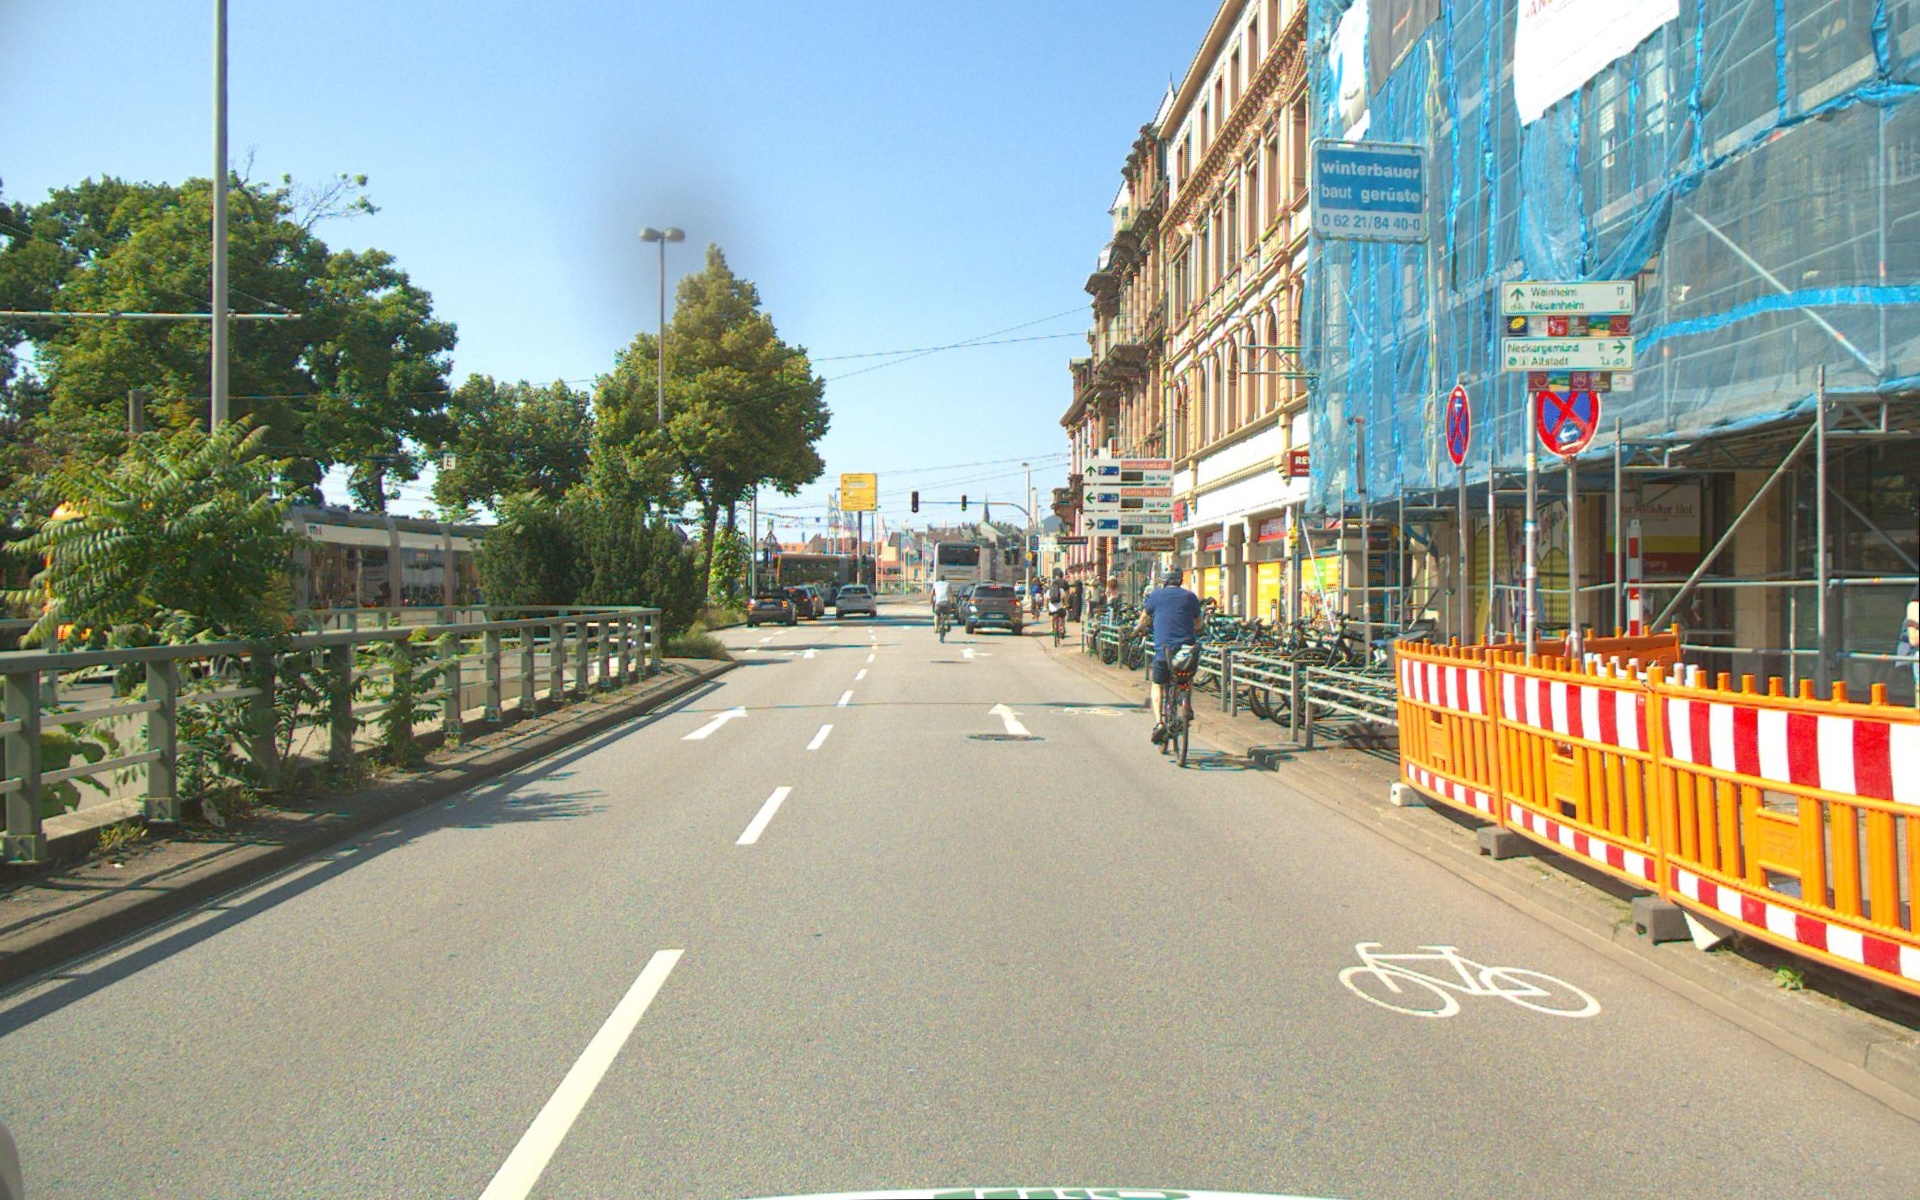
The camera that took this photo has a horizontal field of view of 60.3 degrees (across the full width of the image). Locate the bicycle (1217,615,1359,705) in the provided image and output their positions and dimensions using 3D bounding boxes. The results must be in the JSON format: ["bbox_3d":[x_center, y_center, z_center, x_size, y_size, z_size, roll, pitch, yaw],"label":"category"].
[{"bbox_3d":[4.198,0.764,21.238,1.703,1.128,0.608,0,0,-1],"label":"bicycle"}]

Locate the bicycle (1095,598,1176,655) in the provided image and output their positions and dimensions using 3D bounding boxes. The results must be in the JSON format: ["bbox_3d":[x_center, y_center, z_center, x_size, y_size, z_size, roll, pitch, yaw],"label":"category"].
[{"bbox_3d":[3.701,0.553,34.907,1.659,1.199,0.469,0,0,-1],"label":"bicycle"}]

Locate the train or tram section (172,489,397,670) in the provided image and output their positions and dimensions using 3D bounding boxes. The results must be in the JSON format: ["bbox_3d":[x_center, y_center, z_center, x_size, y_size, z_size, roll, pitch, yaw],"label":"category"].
[{"bbox_3d":[-14.796,-0.424,36.761,2.560,3.643,6.102,1,0,-2],"label":"train or tram section"}]

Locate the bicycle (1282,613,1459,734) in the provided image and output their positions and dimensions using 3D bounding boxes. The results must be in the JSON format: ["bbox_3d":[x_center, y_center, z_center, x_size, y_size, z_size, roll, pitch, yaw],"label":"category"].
[{"bbox_3d":[4.178,0.740,16.908,1.659,1.199,0.608,0,0,-1],"label":"bicycle"}]

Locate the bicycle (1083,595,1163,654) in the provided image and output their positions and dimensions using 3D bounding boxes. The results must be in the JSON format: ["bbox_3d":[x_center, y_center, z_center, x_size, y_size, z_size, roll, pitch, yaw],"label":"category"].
[{"bbox_3d":[3.617,0.540,36.695,1.659,1.199,0.608,-3,1,-1],"label":"bicycle"}]

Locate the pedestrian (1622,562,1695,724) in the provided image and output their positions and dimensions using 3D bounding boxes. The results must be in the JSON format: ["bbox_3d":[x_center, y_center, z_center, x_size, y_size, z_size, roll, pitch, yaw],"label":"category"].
[{"bbox_3d":[7.262,0.436,17.175,0.631,1.629,0.764,1,0,26],"label":"pedestrian"}]

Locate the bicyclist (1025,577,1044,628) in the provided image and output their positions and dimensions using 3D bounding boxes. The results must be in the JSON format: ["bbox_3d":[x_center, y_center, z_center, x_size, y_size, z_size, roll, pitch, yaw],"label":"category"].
[{"bbox_3d":[2.952,0.108,65.658,0.674,1.996,0.778,1,0,1],"label":"bicyclist"}]

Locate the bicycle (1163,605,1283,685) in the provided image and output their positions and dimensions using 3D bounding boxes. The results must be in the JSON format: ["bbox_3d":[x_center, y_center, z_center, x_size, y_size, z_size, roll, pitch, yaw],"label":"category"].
[{"bbox_3d":[4.024,0.683,25.383,1.735,1.199,0.608,0,0,-1],"label":"bicycle"}]

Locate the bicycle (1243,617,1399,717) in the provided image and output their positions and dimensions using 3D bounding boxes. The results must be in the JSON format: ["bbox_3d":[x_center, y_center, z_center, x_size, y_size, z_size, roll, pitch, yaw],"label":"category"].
[{"bbox_3d":[4.152,0.765,19.084,1.659,1.116,0.608,0,0,-1],"label":"bicycle"}]

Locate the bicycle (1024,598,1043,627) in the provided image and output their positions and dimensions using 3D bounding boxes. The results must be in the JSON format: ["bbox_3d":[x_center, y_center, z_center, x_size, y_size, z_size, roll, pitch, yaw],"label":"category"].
[{"bbox_3d":[2.924,0.503,65.701,0.719,1.112,1.898,1,0,2],"label":"bicycle"}]

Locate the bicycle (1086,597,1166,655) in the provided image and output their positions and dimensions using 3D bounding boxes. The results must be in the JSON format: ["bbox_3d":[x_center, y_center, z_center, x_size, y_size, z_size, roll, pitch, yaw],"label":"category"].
[{"bbox_3d":[3.614,0.569,36.041,1.659,1.199,0.608,-2,1,-1],"label":"bicycle"}]

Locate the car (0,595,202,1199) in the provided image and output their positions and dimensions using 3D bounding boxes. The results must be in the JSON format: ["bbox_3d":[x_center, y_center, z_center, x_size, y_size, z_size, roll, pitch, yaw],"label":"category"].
[{"bbox_3d":[-2.215,0.780,0.851,1.740,1.501,4.000,-2,0,1],"label":"car"}]

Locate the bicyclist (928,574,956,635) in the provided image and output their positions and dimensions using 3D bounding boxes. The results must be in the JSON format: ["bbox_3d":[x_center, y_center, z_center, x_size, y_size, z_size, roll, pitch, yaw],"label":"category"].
[{"bbox_3d":[-0.477,0.108,44.222,0.674,1.604,1.049,1,0,-3],"label":"bicyclist"}]

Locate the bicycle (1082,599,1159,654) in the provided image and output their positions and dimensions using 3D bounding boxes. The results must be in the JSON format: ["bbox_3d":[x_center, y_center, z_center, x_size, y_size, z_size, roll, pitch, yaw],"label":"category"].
[{"bbox_3d":[3.618,0.590,37.328,1.659,1.199,0.608,-1,1,-1],"label":"bicycle"}]

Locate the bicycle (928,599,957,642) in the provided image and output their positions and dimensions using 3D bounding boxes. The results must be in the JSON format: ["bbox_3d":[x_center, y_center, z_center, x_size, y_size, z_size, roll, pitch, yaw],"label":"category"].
[{"bbox_3d":[-0.477,0.533,44.310,0.719,1.112,1.897,1,0,-3],"label":"bicycle"}]

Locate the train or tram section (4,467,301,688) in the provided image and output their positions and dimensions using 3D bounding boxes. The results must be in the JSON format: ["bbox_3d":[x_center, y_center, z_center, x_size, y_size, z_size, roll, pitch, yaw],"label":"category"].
[{"bbox_3d":[-14.709,-0.384,30.691,2.561,3.643,6.102,1,0,-2],"label":"train or tram section"}]

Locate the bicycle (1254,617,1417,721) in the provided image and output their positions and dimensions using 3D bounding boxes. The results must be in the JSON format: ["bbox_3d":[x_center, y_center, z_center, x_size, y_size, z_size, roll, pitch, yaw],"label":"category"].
[{"bbox_3d":[4.149,0.761,18.340,1.659,1.116,0.608,0,0,-1],"label":"bicycle"}]

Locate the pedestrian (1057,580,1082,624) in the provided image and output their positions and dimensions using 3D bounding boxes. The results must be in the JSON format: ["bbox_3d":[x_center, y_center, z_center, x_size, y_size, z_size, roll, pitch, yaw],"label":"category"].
[{"bbox_3d":[4.220,0.067,63.656,0.845,1.669,0.875,0,0,-3],"label":"pedestrian"}]

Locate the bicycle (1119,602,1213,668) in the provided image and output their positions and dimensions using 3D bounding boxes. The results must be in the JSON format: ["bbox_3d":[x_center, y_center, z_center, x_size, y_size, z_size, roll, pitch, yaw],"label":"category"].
[{"bbox_3d":[3.795,0.641,30.491,1.659,1.199,0.497,0,0,-1],"label":"bicycle"}]

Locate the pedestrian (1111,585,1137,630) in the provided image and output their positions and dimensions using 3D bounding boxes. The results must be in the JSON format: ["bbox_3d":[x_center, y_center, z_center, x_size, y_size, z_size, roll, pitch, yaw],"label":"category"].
[{"bbox_3d":[6.252,0.286,63.071,0.845,1.669,0.875,1,0,-3],"label":"pedestrian"}]

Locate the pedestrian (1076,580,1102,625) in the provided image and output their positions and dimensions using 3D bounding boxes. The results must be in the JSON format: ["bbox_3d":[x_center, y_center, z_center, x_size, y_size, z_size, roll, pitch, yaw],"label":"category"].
[{"bbox_3d":[4.834,0.086,61.983,0.845,1.669,0.875,0,0,-3],"label":"pedestrian"}]

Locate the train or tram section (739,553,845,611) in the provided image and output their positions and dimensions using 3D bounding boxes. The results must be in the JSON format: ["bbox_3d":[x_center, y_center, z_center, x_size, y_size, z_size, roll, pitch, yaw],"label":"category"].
[{"bbox_3d":[-10.958,-1.108,109.348,2.764,3.643,10.033,1,0,21],"label":"train or tram section"}]

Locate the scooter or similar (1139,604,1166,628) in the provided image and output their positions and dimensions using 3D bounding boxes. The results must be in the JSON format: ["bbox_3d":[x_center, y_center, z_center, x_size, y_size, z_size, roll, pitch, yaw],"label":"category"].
[{"bbox_3d":[5.738,0.474,49.241,0.677,0.661,0.565,-4,0,-2],"label":"scooter or similar"}]

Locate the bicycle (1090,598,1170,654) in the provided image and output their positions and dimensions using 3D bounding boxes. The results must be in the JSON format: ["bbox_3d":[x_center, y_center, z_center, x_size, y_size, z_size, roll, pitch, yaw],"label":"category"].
[{"bbox_3d":[3.640,0.552,35.441,1.659,1.199,0.469,0,0,-1],"label":"bicycle"}]

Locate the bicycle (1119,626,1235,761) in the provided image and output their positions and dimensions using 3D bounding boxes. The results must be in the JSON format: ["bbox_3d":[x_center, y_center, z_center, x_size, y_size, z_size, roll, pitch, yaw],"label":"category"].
[{"bbox_3d":[1.968,0.824,15.238,0.719,1.112,1.910,1,0,-3],"label":"bicycle"}]

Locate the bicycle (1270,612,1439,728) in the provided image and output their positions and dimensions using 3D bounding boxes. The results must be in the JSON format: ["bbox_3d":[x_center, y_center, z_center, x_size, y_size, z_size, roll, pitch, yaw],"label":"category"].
[{"bbox_3d":[4.195,0.739,17.648,1.659,1.199,0.608,0,0,-1],"label":"bicycle"}]

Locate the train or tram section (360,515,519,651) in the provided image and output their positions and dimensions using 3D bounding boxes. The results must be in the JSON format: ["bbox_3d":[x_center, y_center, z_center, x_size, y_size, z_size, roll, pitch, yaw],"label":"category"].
[{"bbox_3d":[-15.133,-0.474,48.599,2.560,3.643,6.896,1,0,-2],"label":"train or tram section"}]

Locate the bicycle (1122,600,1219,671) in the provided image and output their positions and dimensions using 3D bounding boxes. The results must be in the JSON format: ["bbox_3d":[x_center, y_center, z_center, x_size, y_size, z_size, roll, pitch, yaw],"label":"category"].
[{"bbox_3d":[3.792,0.637,29.827,1.659,1.262,0.608,0,0,-1],"label":"bicycle"}]

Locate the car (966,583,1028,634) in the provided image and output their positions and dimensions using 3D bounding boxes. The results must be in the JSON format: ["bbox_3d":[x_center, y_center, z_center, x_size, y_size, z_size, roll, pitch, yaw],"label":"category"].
[{"bbox_3d":[1.146,0.252,52.369,1.835,1.519,4.000,1,0,0],"label":"car"}]

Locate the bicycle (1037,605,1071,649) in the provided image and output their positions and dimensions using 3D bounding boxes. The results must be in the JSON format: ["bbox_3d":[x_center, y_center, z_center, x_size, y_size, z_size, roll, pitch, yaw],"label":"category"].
[{"bbox_3d":[2.472,0.691,43.609,0.719,1.112,1.897,1,0,-2],"label":"bicycle"}]

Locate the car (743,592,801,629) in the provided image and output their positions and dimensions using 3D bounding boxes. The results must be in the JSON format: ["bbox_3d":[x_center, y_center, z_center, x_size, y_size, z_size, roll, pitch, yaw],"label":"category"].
[{"bbox_3d":[-7.190,0.380,63.545,1.778,1.355,4.000,1,0,0],"label":"car"}]

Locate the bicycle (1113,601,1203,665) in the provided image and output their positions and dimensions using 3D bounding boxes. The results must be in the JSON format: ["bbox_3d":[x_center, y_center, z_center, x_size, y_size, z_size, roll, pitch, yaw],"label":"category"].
[{"bbox_3d":[3.769,0.630,31.596,1.659,1.199,0.451,0,0,-1],"label":"bicycle"}]

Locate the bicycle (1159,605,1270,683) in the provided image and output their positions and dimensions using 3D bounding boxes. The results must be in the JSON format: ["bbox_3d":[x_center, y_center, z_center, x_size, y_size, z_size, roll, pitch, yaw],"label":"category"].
[{"bbox_3d":[4.029,0.693,26.214,1.659,1.199,0.608,0,0,-1],"label":"bicycle"}]

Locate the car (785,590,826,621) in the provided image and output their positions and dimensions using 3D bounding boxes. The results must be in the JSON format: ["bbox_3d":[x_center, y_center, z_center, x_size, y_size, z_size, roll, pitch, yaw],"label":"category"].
[{"bbox_3d":[-6.766,0.224,72.607,1.422,1.323,4.000,1,0,0],"label":"car"}]

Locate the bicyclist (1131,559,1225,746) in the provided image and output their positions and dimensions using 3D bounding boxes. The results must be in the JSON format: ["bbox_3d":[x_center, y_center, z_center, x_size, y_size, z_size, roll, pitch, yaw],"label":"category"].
[{"bbox_3d":[1.981,0.461,15.105,0.674,1.644,0.918,1,0,-2],"label":"bicyclist"}]

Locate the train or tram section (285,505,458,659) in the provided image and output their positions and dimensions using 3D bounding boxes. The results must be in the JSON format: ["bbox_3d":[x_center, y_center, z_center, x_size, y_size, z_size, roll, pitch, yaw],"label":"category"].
[{"bbox_3d":[-14.977,-0.449,42.491,2.560,3.643,5.355,1,0,-2],"label":"train or tram section"}]

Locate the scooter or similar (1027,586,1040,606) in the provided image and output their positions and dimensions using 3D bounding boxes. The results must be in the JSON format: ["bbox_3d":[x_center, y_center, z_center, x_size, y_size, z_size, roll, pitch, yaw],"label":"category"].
[{"bbox_3d":[3.844,-0.210,86.975,0.588,1.066,0.799,1,0,-3],"label":"scooter or similar"}]

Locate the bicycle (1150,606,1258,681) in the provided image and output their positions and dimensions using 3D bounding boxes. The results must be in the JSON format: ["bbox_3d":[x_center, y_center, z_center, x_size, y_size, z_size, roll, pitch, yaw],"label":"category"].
[{"bbox_3d":[3.961,0.701,26.939,1.659,1.199,0.608,0,0,-1],"label":"bicycle"}]

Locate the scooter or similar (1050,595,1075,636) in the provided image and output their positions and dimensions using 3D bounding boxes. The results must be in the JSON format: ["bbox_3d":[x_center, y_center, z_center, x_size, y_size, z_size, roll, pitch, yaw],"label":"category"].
[{"bbox_3d":[3.084,0.456,49.669,0.674,1.188,1.464,1,0,1],"label":"scooter or similar"}]

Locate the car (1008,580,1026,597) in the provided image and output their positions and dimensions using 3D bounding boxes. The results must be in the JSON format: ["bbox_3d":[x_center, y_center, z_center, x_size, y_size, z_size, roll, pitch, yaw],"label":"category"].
[{"bbox_3d":[6.778,-1.365,197.426,1.952,1.910,4.001,-2,1,1],"label":"car"}]

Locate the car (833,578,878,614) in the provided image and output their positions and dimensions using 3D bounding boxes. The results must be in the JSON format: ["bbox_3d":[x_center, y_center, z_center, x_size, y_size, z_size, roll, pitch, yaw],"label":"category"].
[{"bbox_3d":[-4.726,-0.180,75.229,1.821,1.533,4.000,1,0,0],"label":"car"}]

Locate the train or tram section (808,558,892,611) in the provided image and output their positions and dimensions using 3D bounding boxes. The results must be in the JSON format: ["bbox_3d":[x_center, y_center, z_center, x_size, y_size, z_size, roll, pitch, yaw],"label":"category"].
[{"bbox_3d":[-7.760,-1.073,117.979,2.764,3.643,8.226,1,0,21],"label":"train or tram section"}]

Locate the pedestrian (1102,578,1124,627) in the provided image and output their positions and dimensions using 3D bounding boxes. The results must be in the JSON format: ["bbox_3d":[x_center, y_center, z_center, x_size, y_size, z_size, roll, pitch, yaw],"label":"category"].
[{"bbox_3d":[5.361,0.084,57.903,0.641,1.649,0.815,-1,1,-3],"label":"pedestrian"}]

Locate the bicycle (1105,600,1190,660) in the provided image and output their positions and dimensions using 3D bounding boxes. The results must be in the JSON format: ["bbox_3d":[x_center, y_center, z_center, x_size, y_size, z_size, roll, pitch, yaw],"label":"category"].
[{"bbox_3d":[3.758,0.597,33.197,1.659,1.199,0.514,0,0,-1],"label":"bicycle"}]

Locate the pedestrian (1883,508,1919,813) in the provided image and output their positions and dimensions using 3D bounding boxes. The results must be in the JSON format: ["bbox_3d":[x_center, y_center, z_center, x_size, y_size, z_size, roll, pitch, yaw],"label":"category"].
[{"bbox_3d":[6.007,0.361,9.847,0.626,1.807,0.649,1,0,-2],"label":"pedestrian"}]

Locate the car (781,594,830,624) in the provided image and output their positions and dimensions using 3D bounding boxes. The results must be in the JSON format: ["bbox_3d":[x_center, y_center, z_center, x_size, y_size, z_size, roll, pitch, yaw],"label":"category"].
[{"bbox_3d":[-7.463,0.432,80.066,1.995,1.355,4.000,1,0,0],"label":"car"}]

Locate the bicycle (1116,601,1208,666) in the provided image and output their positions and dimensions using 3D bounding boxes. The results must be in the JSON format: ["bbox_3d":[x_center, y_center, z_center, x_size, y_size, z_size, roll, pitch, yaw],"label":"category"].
[{"bbox_3d":[3.776,0.632,31.040,1.659,1.199,0.490,0,0,-1],"label":"bicycle"}]

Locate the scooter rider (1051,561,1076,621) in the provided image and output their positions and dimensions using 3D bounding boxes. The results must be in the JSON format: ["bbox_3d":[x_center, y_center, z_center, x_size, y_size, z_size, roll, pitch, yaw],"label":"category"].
[{"bbox_3d":[3.114,-0.274,49.707,0.674,1.759,0.778,1,0,1],"label":"scooter rider"}]

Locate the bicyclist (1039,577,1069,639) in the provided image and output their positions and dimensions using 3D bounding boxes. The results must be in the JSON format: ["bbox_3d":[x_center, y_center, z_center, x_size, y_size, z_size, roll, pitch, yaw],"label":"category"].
[{"bbox_3d":[2.477,0.218,43.635,0.674,1.604,1.049,1,0,-2],"label":"bicyclist"}]

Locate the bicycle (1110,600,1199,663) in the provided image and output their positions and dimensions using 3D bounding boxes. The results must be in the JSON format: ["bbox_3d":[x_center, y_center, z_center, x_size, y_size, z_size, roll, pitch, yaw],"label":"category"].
[{"bbox_3d":[3.766,0.610,32.105,1.659,1.199,0.463,0,0,-1],"label":"bicycle"}]

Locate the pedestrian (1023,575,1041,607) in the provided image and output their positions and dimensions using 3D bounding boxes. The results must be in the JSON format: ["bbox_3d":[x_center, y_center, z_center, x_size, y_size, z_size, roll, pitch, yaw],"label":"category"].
[{"bbox_3d":[3.830,-0.471,87.643,0.845,1.669,0.875,1,0,-3],"label":"pedestrian"}]

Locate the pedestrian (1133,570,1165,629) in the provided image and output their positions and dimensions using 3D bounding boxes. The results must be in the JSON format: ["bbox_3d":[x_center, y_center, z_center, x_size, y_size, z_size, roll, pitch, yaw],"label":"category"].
[{"bbox_3d":[5.694,-0.014,49.824,0.740,1.684,0.837,-4,0,-2],"label":"pedestrian"}]

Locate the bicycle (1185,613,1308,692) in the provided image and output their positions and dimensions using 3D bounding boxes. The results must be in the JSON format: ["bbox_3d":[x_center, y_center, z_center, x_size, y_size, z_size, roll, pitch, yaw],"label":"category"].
[{"bbox_3d":[4.099,0.741,23.715,1.659,1.106,0.608,0,0,-1],"label":"bicycle"}]

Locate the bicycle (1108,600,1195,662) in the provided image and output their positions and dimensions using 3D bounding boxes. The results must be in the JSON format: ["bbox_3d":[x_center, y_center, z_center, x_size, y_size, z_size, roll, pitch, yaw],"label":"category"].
[{"bbox_3d":[3.762,0.603,32.617,1.659,1.199,0.457,0,0,-1],"label":"bicycle"}]

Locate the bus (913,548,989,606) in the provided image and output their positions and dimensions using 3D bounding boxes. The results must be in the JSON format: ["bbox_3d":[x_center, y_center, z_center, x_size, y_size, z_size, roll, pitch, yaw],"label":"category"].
[{"bbox_3d":[-0.566,-1.184,86.465,2.913,2.825,8.627,1,0,-8],"label":"bus"}]

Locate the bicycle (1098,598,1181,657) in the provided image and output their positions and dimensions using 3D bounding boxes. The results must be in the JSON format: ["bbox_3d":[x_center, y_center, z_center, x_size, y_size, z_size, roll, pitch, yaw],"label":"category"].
[{"bbox_3d":[3.718,0.567,34.343,1.659,1.199,0.460,0,0,-1],"label":"bicycle"}]
